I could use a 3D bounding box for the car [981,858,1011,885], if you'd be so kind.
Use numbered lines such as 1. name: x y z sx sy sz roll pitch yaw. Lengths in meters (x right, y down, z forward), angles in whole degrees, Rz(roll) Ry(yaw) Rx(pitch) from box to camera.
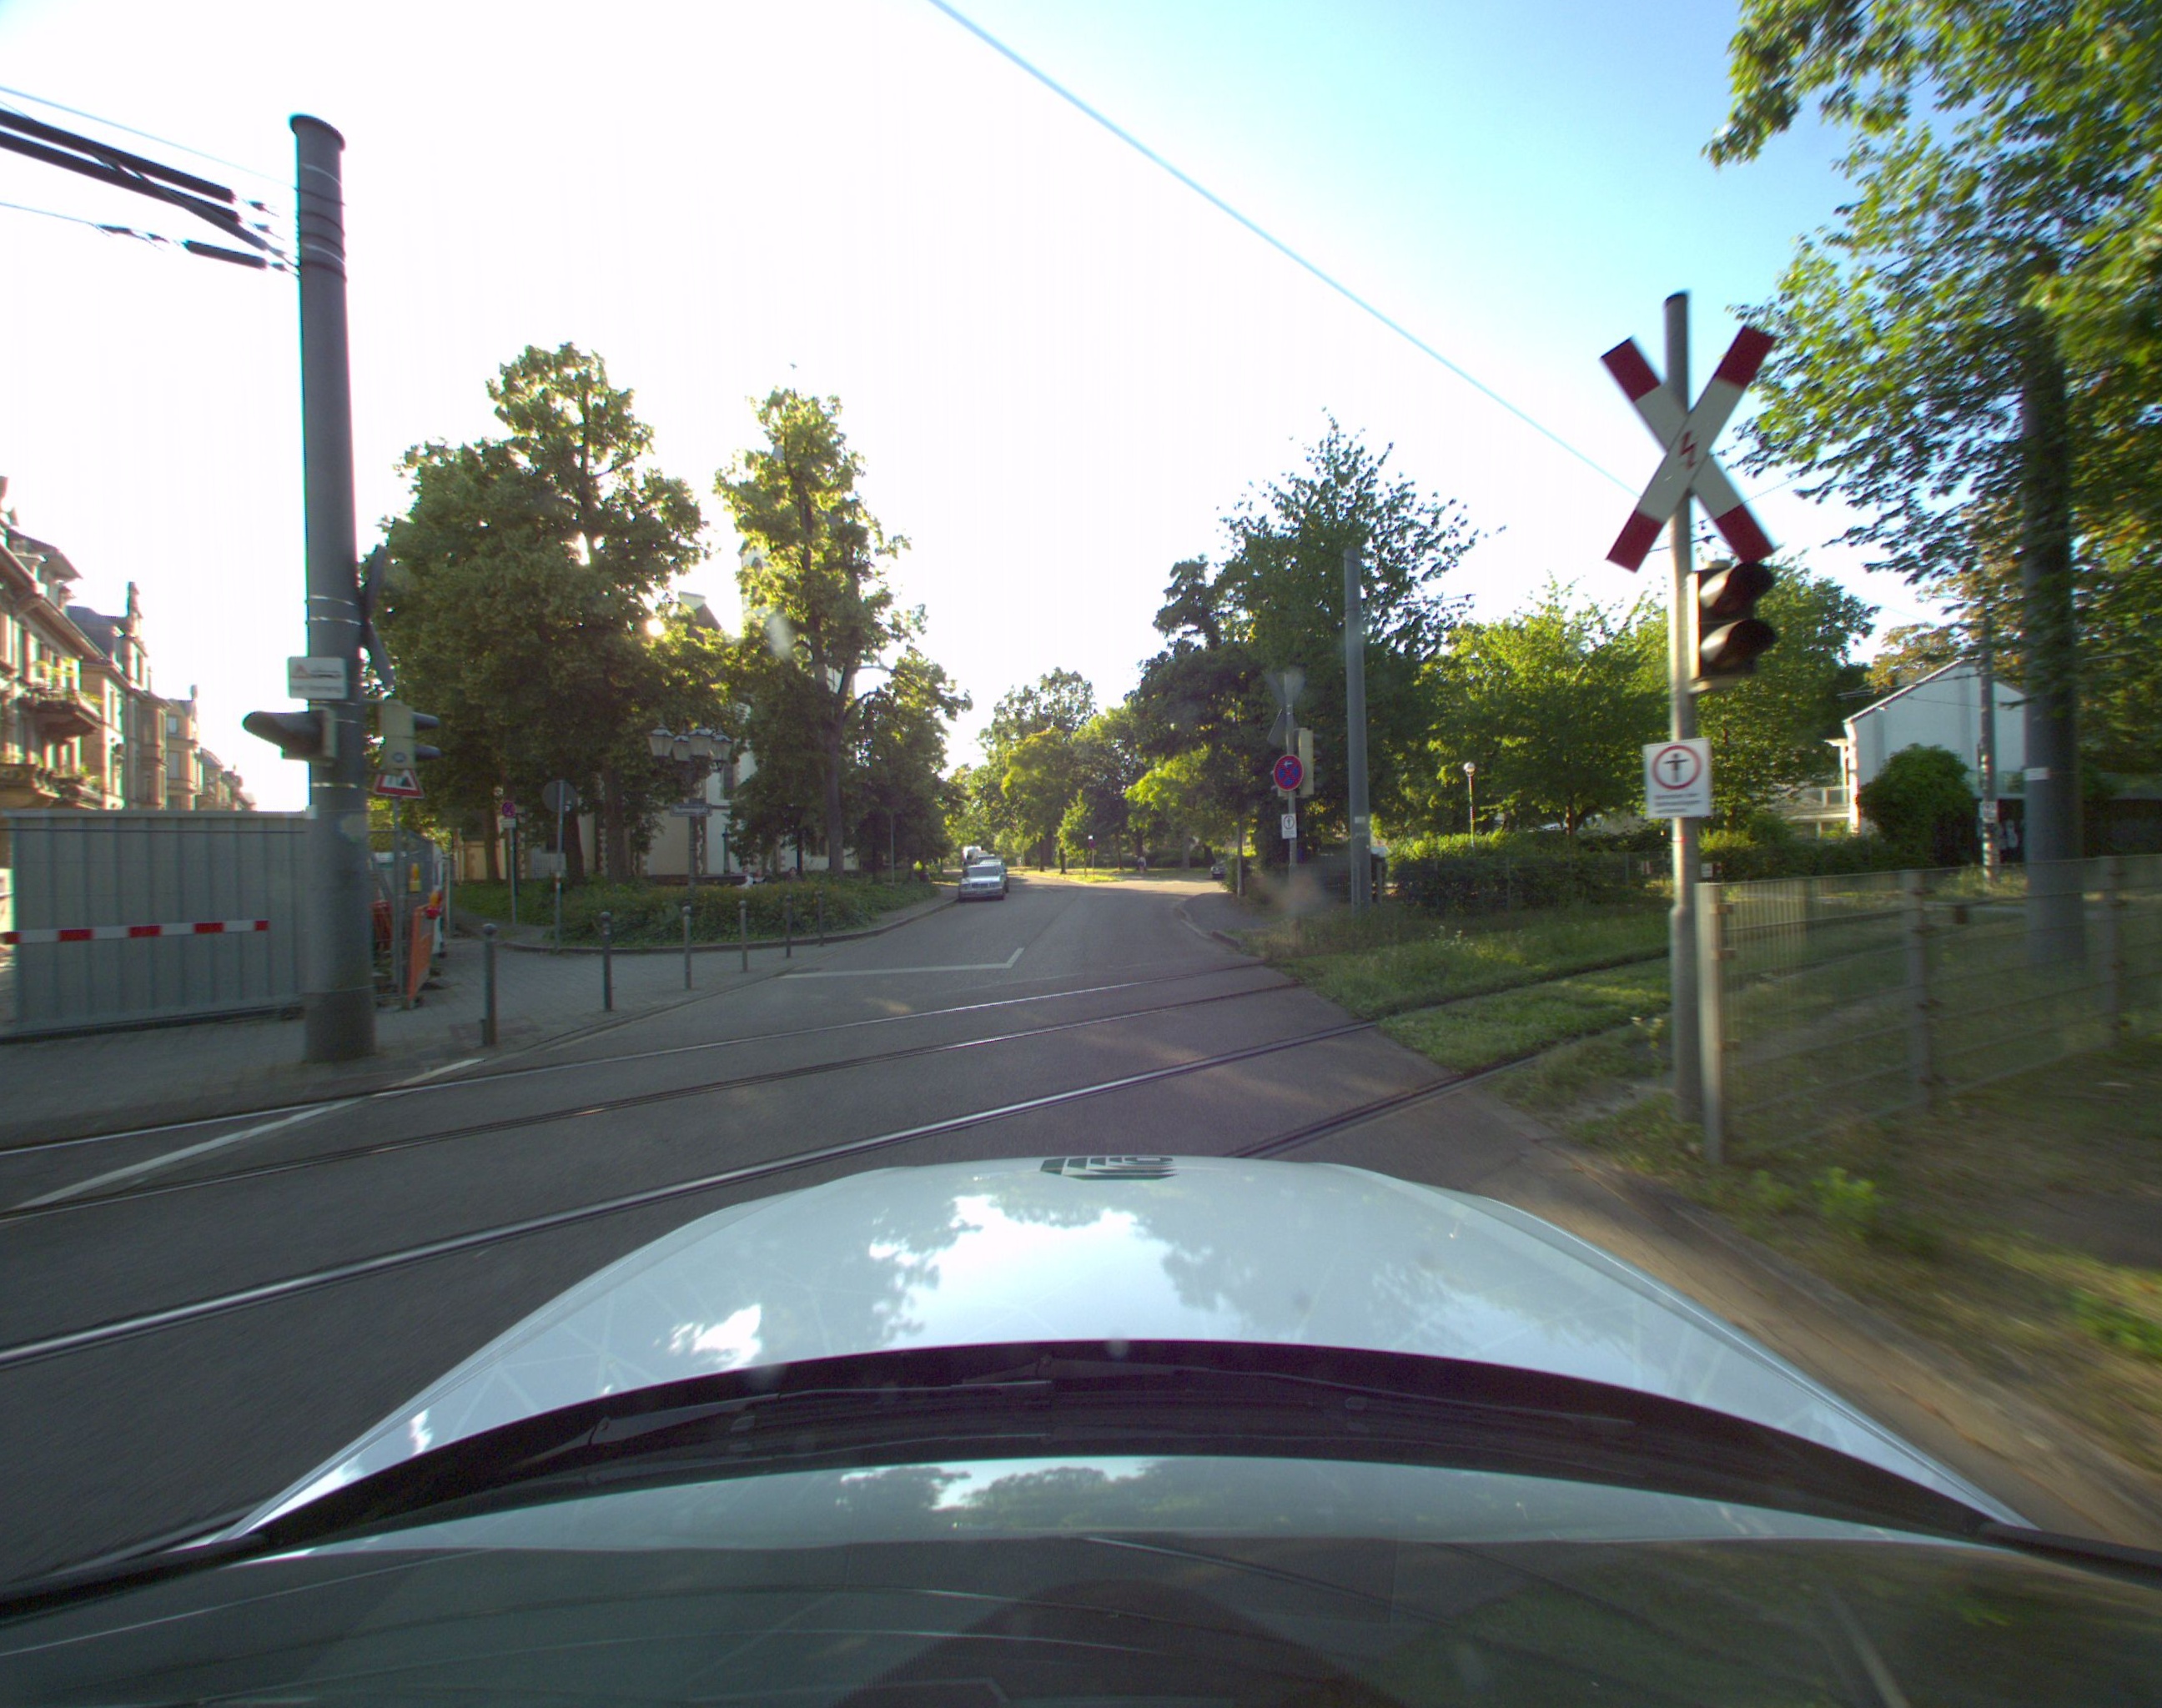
1. car: -5.284 1.059 50.518 1.703 1.579 3.686 -1 0 -8

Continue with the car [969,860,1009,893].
1. car: -4.571 1.085 40.451 1.823 1.415 4.484 -3 0 -7

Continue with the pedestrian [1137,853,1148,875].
1. pedestrian: 4.524 0.743 59.952 0.770 1.574 0.768 -2 -1 2

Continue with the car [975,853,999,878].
1. car: -7.780 0.957 67.323 1.850 1.946 4.827 -1 0 -8

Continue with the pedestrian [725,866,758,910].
1. pedestrian: -9.742 0.965 23.387 0.548 1.233 0.727 -1 0 10

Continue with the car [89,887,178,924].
1. car: -38.155 2.035 32.885 1.923 1.278 4.168 -1 -1 -43

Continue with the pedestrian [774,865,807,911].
1. pedestrian: -8.348 0.965 23.430 0.548 1.298 0.768 -1 0 10

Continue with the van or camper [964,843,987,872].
1. van or camper: -11.259 0.349 86.424 2.090 2.908 6.309 -1 0 -10

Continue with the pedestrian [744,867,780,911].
1. pedestrian: -9.154 0.997 23.395 0.548 1.195 0.886 -1 0 10

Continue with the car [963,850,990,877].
1. car: -9.584 0.840 74.532 1.853 2.356 5.162 -1 0 -13

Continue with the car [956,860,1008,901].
1. car: -3.956 1.032 33.169 1.776 1.415 4.492 -3 0 -4

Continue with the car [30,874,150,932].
1. car: -31.439 1.485 25.967 1.923 1.655 4.168 -1 -1 -43

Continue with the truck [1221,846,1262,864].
1. truck: 28.641 0.235 145.599 2.619 3.029 7.936 -1 0 -28

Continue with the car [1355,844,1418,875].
1. car: 20.437 0.347 54.278 1.934 2.014 5.183 -2 -1 45

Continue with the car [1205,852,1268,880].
1. car: 10.025 0.741 52.385 4.345 1.675 1.786 -1 1 -43
